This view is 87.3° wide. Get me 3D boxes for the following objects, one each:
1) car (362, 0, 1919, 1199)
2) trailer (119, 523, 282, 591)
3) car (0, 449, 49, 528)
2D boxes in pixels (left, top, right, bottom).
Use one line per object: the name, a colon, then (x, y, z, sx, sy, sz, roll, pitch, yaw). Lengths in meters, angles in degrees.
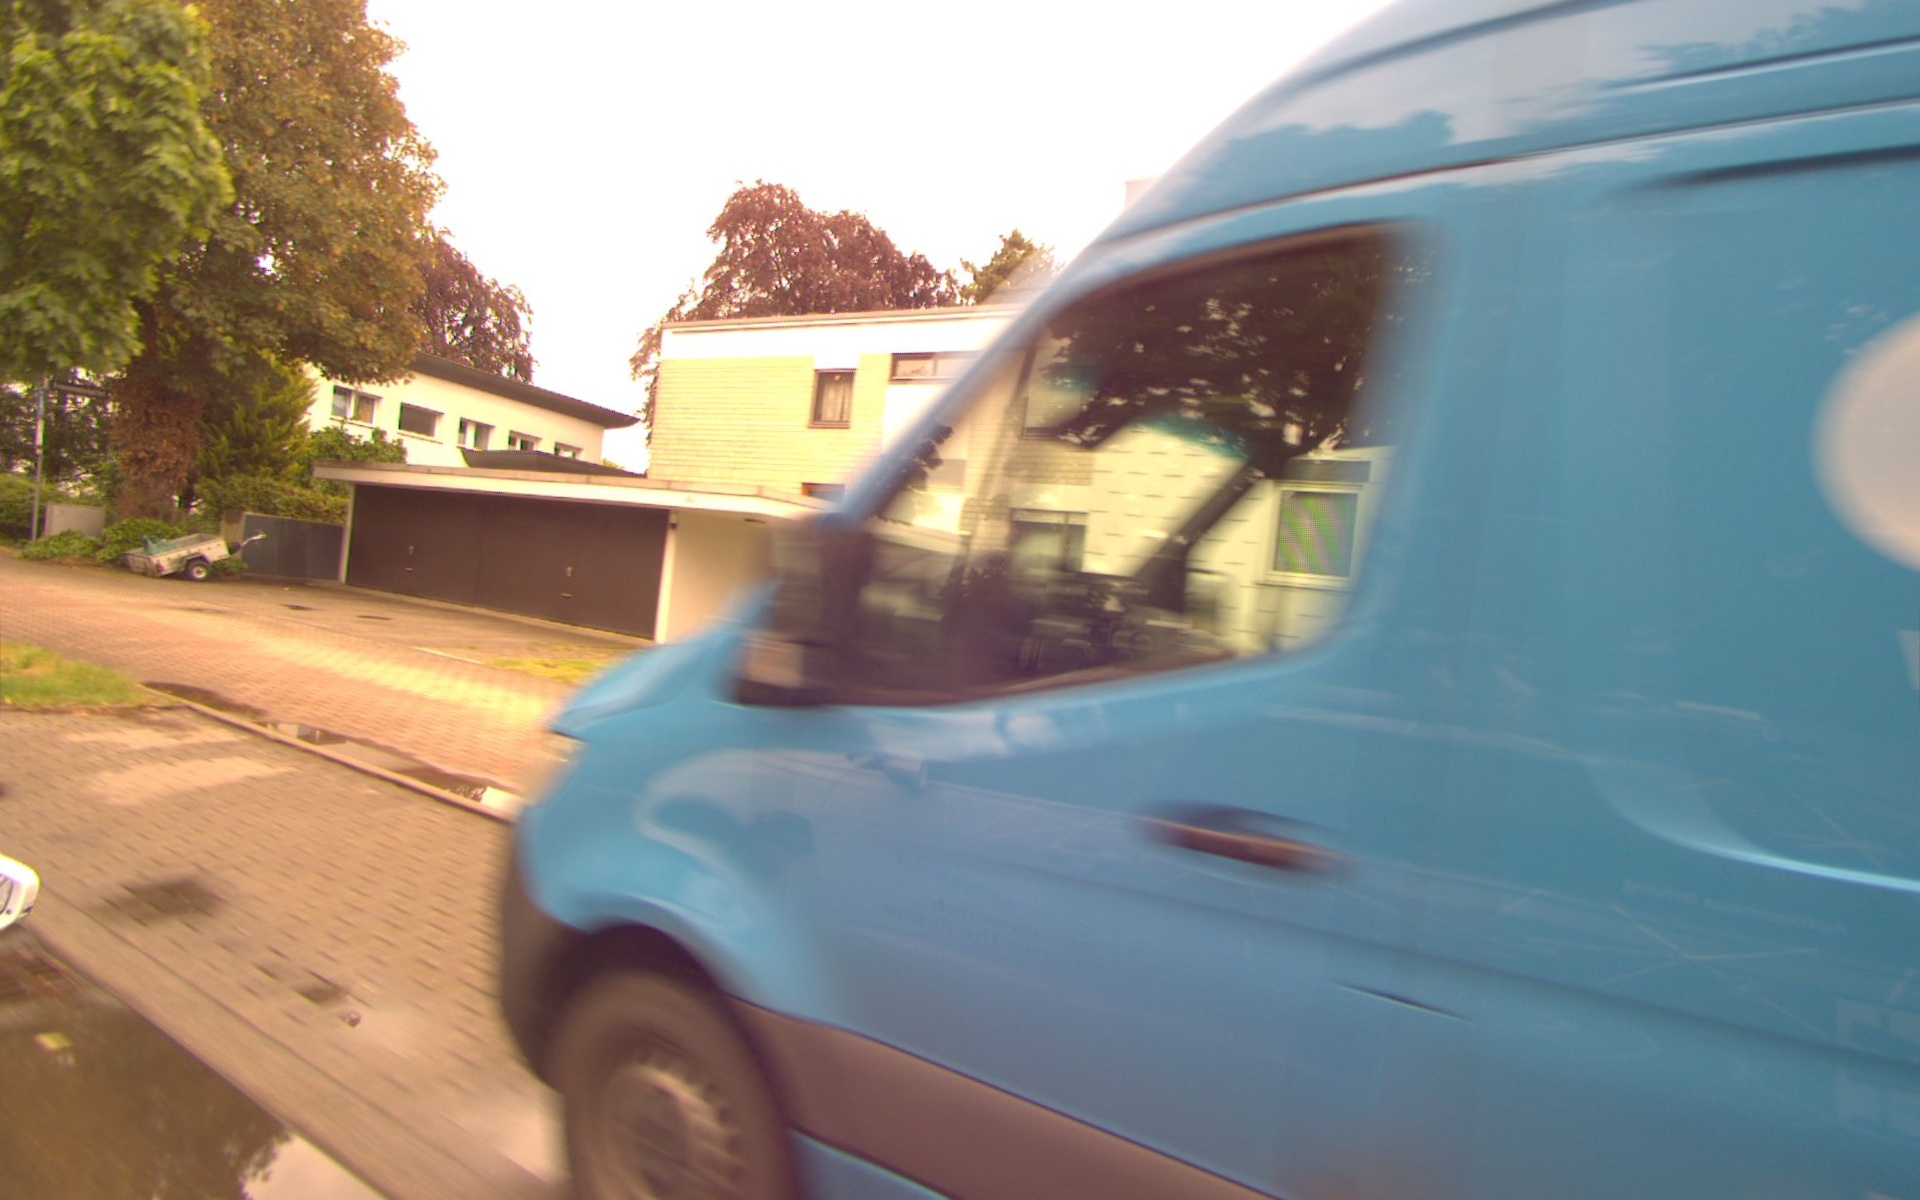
car: (1.592, 0.299, 1.754, 5.538, 2.620, 1.995, 7, 2, 31)
trailer: (-14.158, -0.785, 18.798, 1.342, 0.893, 2.045, 7, -2, 34)
car: (-27.741, -3.363, 27.258, 1.797, 2.037, 3.999, 10, -1, 27)
